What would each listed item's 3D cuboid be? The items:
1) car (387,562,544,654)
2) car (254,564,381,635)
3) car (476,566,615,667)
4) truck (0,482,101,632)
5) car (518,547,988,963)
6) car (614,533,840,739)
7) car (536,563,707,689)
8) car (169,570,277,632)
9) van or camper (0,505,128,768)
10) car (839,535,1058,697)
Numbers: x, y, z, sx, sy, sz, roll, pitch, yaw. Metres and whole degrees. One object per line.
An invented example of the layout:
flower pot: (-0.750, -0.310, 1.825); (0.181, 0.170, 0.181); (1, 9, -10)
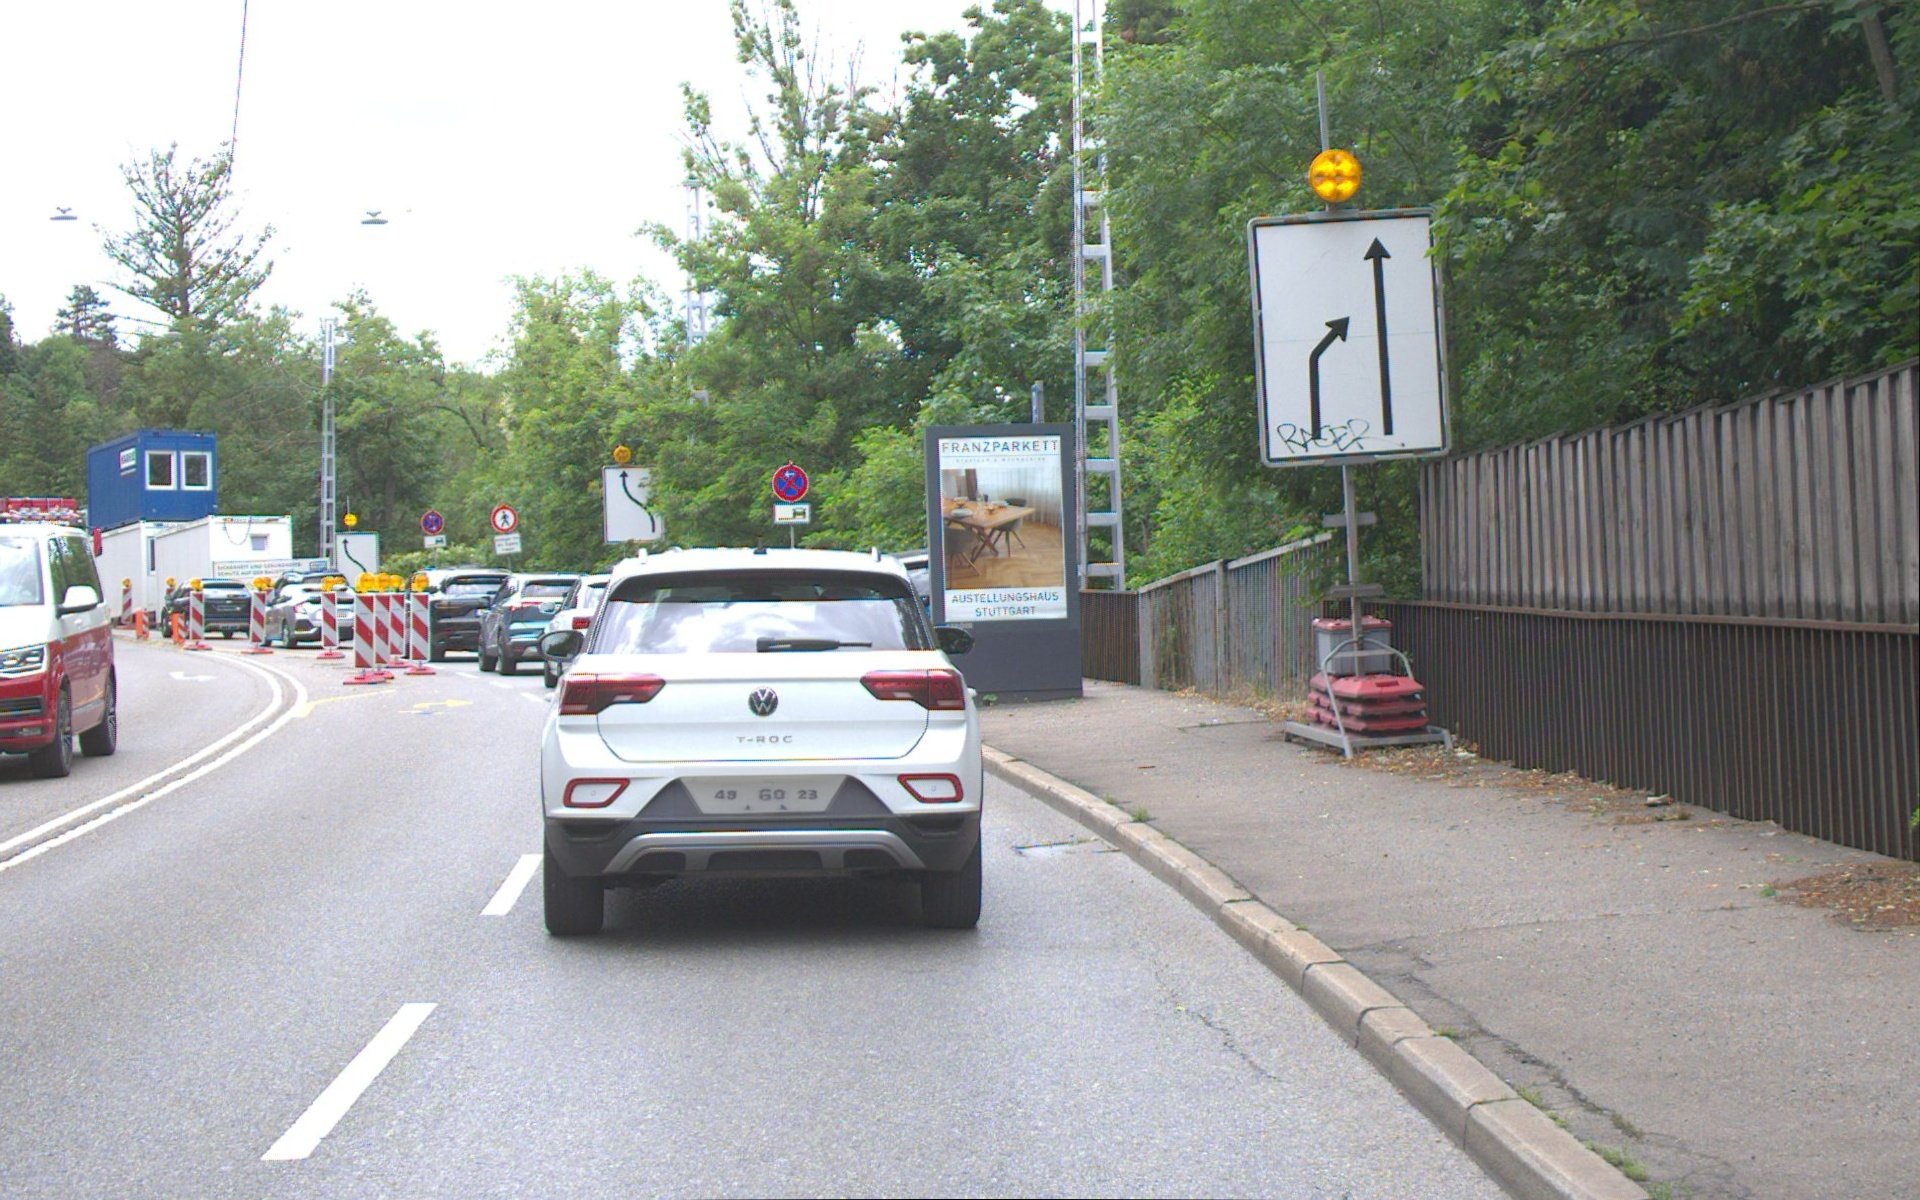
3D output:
car: (-8.990, 0.116, 62.253); (1.993, 1.551, 4.152); (-1, 1, -20)
car: (-14.059, 0.003, 75.067); (1.993, 1.445, 4.151); (-2, 0, -21)
car: (-6.429, 0.262, 53.190); (1.993, 1.409, 4.151); (-3, 0, -7)
truck: (-24.656, -1.086, 89.453); (2.944, 3.685, 9.921); (-1, 1, -23)
car: (-0.962, 0.568, 14.885); (1.757, 1.550, 3.796); (-1, 0, -6)
car: (-2.011, 0.267, 28.901); (1.757, 1.604, 3.796); (-1, 0, -6)
car: (-4.247, 0.294, 42.673); (1.757, 1.466, 3.796); (-1, 0, -11)
car: (-18.426, 0.035, 85.828); (1.993, 1.445, 4.151); (-2, 0, -21)
van or camper: (-7.801, 0.284, 26.938); (1.889, 1.872, 4.766); (-2, 1, -7)
car: (-0.185, 0.135, 36.757); (1.765, 1.516, 4.394); (-4, 1, -7)
